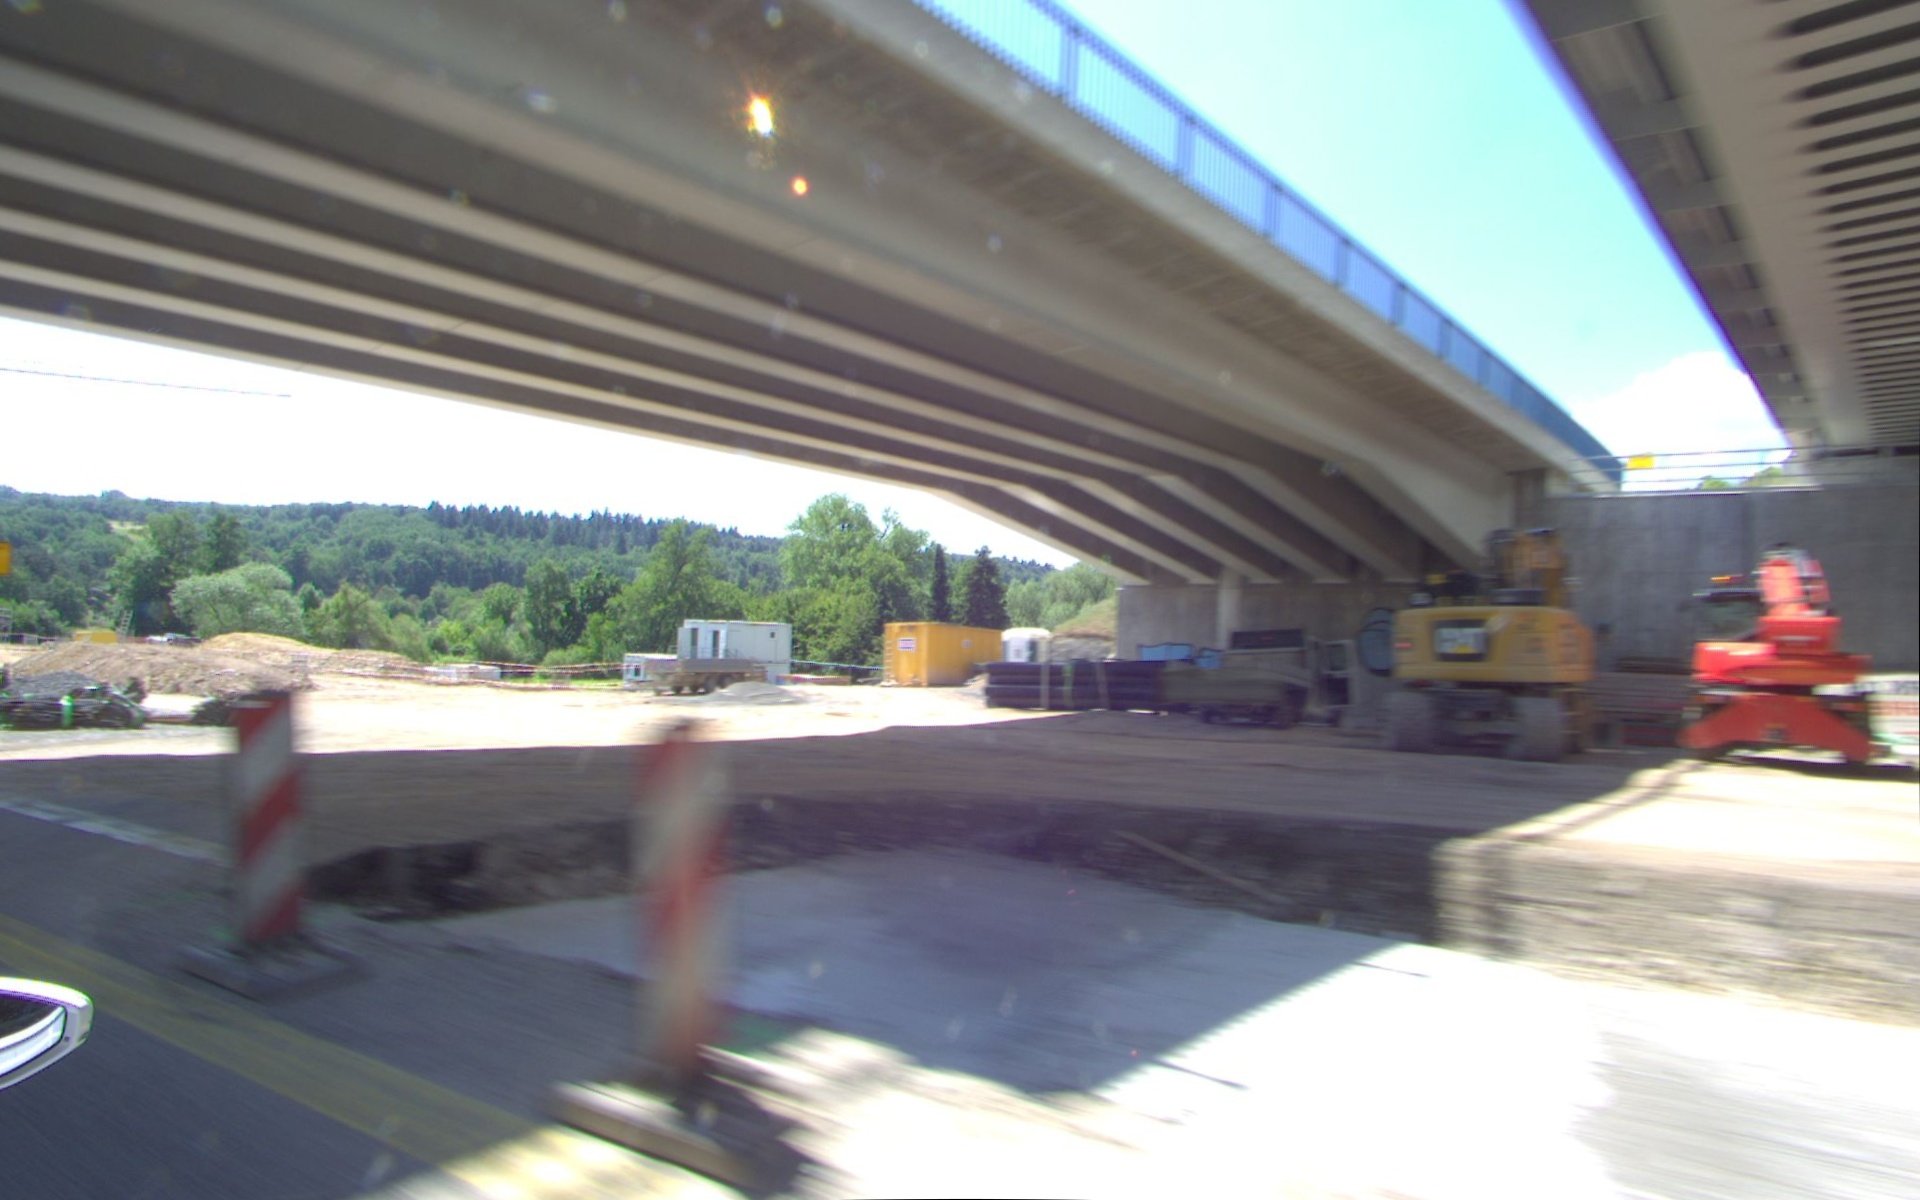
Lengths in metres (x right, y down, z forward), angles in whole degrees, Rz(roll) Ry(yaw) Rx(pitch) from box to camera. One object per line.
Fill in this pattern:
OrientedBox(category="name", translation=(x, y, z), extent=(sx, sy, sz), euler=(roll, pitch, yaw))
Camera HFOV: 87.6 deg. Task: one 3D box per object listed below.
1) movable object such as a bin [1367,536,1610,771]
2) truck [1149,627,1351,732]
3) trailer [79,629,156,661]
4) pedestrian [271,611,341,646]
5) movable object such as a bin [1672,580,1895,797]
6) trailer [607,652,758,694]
OrientedBox(category="movable object such as a bin", translation=(9.388, 0.982, 17.709), extent=(2.872, 3.585, 3.863), euler=(-3, -5, 42))
OrientedBox(category="truck", translation=(6.975, 1.791, 23.425), extent=(2.629, 2.099, 6.508), euler=(-1, -4, 35))
OrientedBox(category="trailer", translation=(-41.926, 2.218, 49.809), extent=(3.767, 1.504, 1.623), euler=(0, -3, 28))
OrientedBox(category="pedestrian", translation=(-39.534, 1.758, 60.524), extent=(3.942, 2.039, 1.991), euler=(-2, -3, 31))
OrientedBox(category="movable object such as a bin", translation=(13.767, 1.465, 17.139), extent=(2.464, 3.093, 5.228), euler=(-2, -5, 35))
OrientedBox(category="trailer", translation=(-9.008, 2.358, 32.903), extent=(2.026, 1.234, 4.707), euler=(-2, -3, 31))
